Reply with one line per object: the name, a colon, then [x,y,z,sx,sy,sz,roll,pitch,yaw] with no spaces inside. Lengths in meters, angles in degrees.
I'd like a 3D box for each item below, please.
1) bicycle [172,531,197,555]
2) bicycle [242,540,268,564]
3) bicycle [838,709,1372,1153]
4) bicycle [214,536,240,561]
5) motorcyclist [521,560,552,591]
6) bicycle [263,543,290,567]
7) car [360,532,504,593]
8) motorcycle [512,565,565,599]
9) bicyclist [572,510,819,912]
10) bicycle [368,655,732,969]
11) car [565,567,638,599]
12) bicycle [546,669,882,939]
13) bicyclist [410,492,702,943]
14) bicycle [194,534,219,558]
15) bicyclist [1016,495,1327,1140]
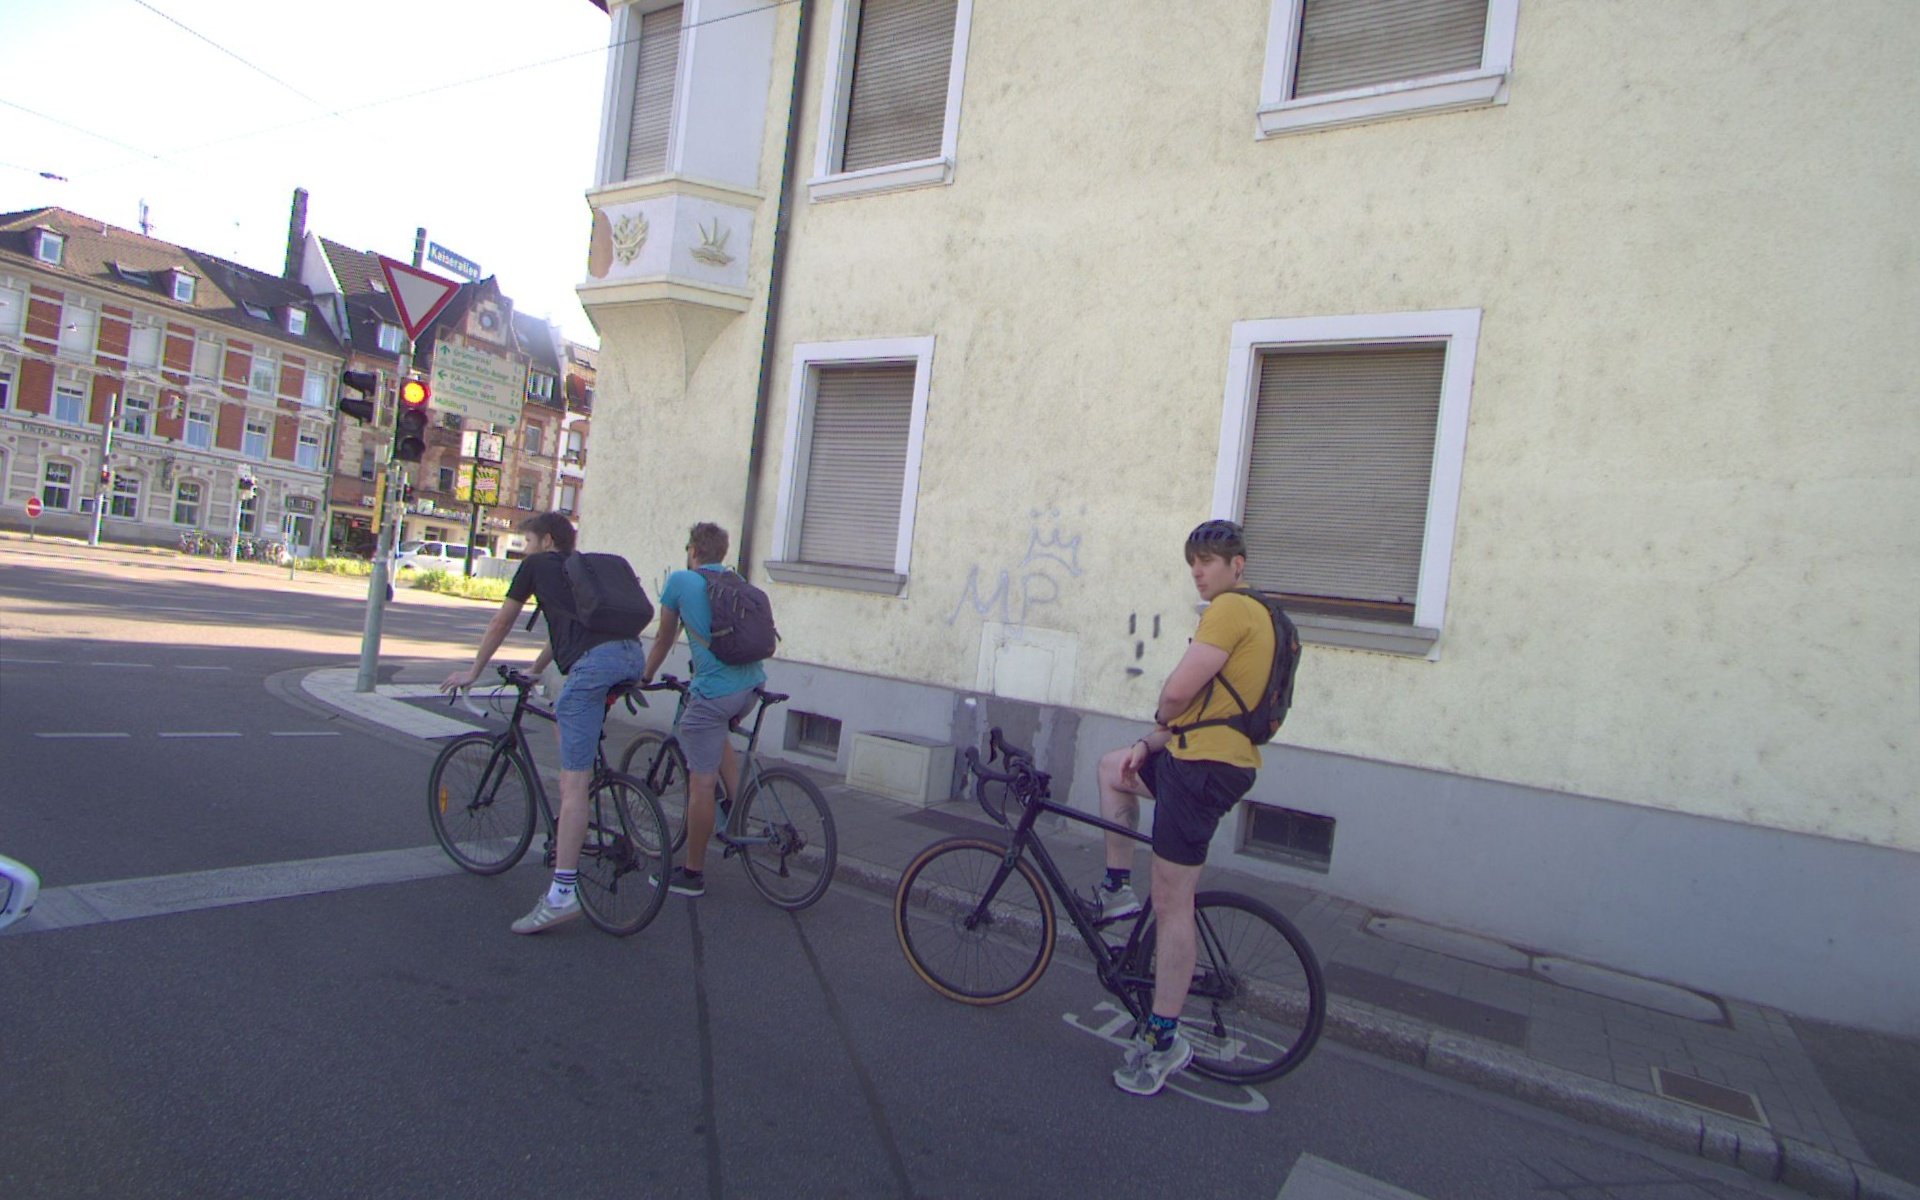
bicycle: [-35.358,-2.599,45.867,0.762,0.974,2.186,8,-2,-39]
bicycle: [-33.597,-2.295,47.944,0.762,1.019,2.196,8,-2,-39]
bicycle: [0.544,1.117,3.820,1.709,1.119,0.783,7,-1,18]
bicycle: [-34.259,-2.407,47.014,0.762,0.995,2.186,8,-2,-39]
motorcyclist: [-20.407,-1.191,48.499,0.777,1.315,1.015,6,-2,36]
bicycle: [-33.009,-2.192,48.603,0.789,1.027,2.186,8,-2,-39]
car: [-23.197,-1.605,44.416,1.967,1.876,5.208,7,-1,32]
motorcycle: [-20.351,-0.875,48.623,0.784,1.349,2.137,6,-2,36]
bicyclist: [-1.375,0.527,5.220,0.960,1.868,0.504,6,-1,32]
bicycle: [-1.897,0.867,4.545,1.753,1.003,0.482,6,-1,32]
car: [-23.155,-1.077,65.121,1.842,1.454,3.985,6,-2,35]
bicycle: [-1.313,0.976,5.213,1.753,0.995,0.504,6,-1,32]
bicyclist: [-1.816,0.471,4.529,0.920,1.787,0.590,6,-1,32]
bicycle: [-34.756,-2.498,46.392,0.762,0.979,2.186,8,-2,-39]
bicyclist: [0.795,0.701,3.678,0.763,1.990,0.783,7,0,18]
